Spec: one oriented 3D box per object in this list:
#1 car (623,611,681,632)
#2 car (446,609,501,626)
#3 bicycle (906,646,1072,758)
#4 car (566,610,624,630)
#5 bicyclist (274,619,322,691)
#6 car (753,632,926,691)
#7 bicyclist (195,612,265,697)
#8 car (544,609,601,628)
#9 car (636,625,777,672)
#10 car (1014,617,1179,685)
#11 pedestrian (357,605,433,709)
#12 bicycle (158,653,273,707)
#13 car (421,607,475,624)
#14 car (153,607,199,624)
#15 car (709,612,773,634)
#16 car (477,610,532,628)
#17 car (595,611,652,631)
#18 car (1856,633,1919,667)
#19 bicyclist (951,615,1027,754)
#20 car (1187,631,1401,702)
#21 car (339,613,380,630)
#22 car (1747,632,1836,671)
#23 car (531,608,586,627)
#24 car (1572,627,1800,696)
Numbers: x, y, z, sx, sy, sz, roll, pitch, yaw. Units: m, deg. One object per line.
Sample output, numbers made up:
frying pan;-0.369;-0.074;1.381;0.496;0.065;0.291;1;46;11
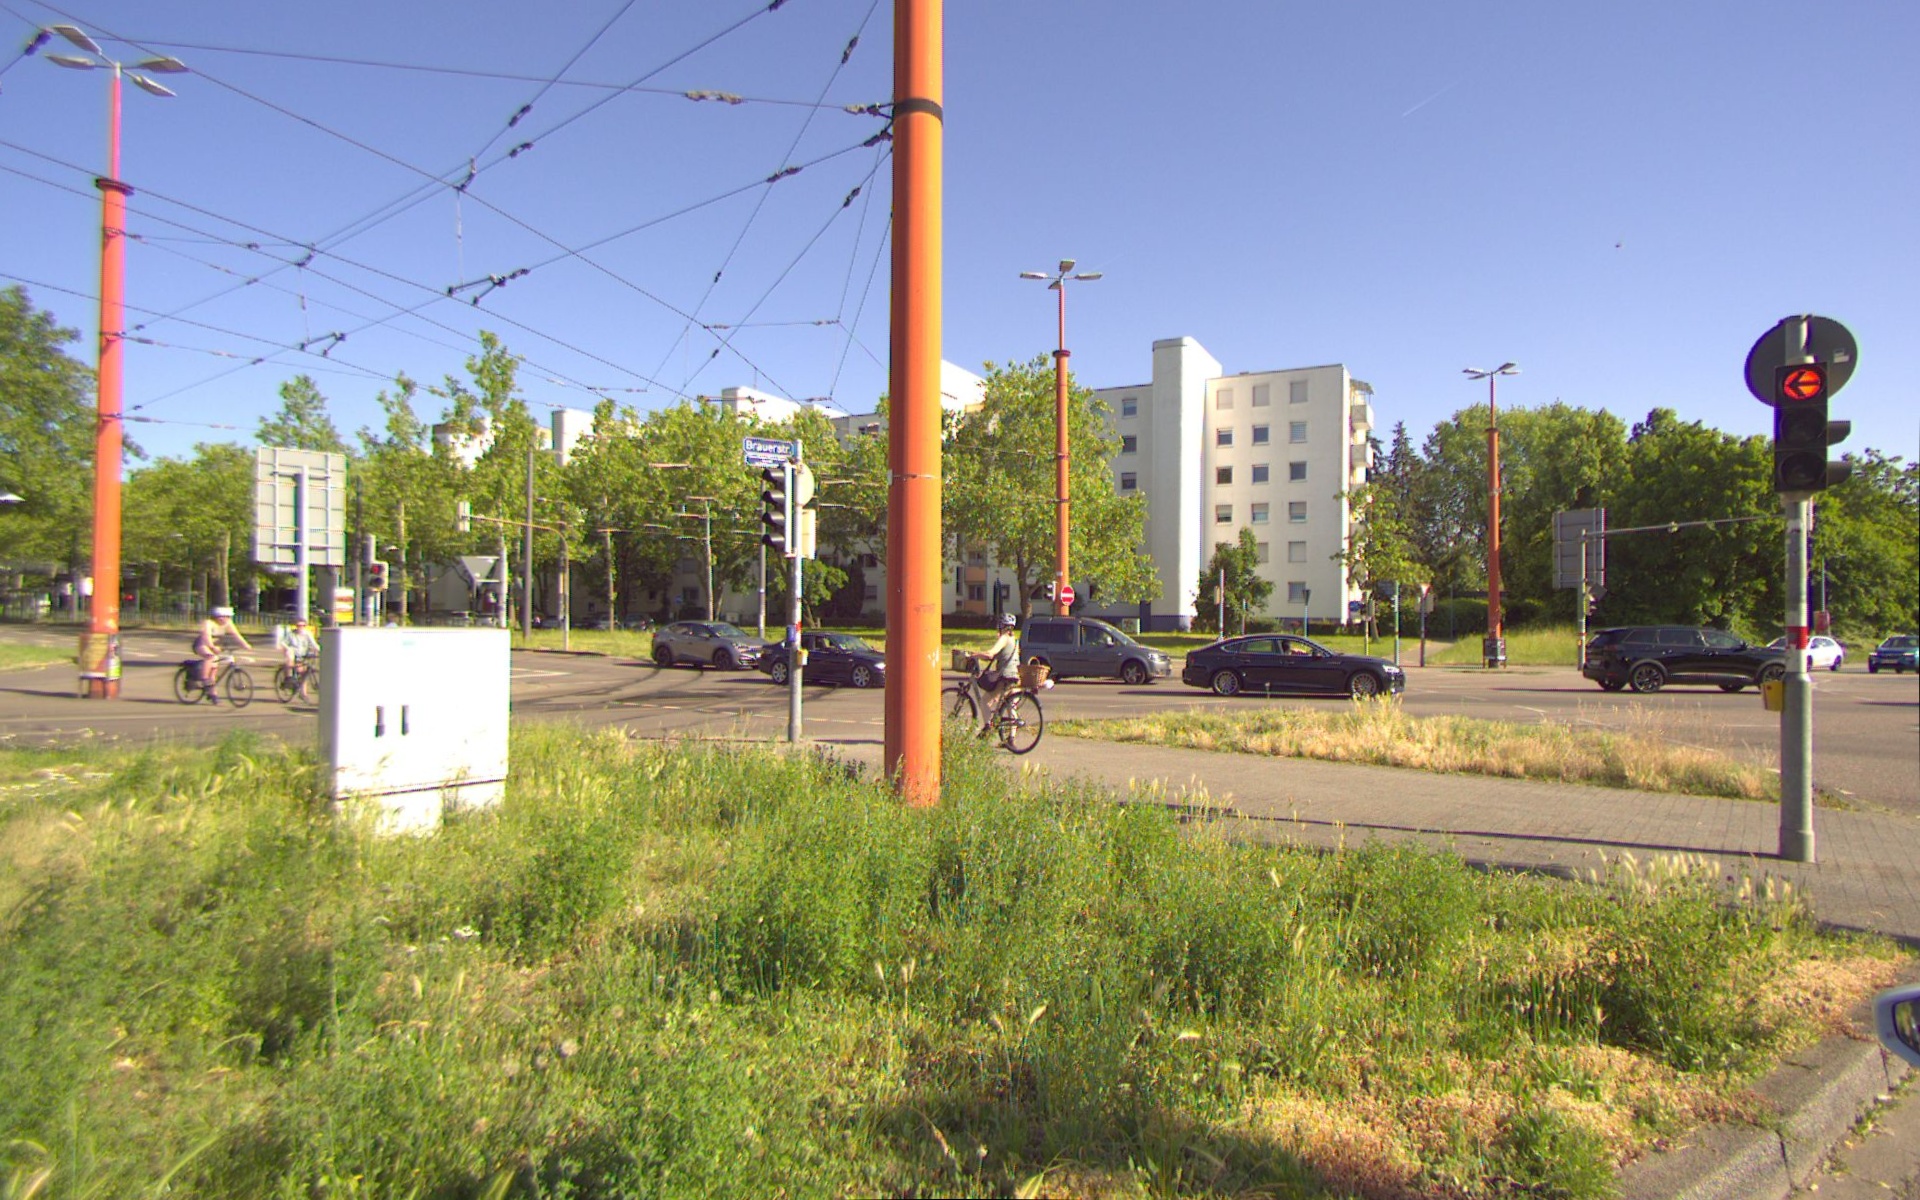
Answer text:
car;-22.244;1.548;72.655;3.934;1.428;1.794;1;-1;-16
car;-41.422;1.486;85.637;3.935;1.428;1.794;1;-1;-17
bicycle;0.333;1.186;12.134;1.915;1.210;0.690;0;-1;33
car;-27.566;1.486;75.931;3.934;1.428;1.794;1;-1;-16
bicyclist;-13.131;1.080;19.928;0.616;1.399;0.443;1;-1;-1
car;-3.207;1.576;26.629;4.282;1.368;1.763;0;-1;27
bicyclist;-13.799;1.017;18.996;0.752;1.565;0.732;1;-1;-1
car;-30.064;1.418;78.085;3.934;1.428;1.794;1;-1;-16
car;-8.467;1.589;33.586;4.351;1.441;1.836;0;-2;23
car;3.799;1.375;27.962;4.223;1.730;1.851;0;-1;22
pedestrian;-10.285;1.016;18.292;0.974;1.817;0.949;0;-1;44
bicycle;-13.991;1.495;18.907;1.612;0.974;0.685;1;-1;-1
car;-44.777;1.388;87.907;3.935;1.428;1.794;1;-1;-17
car;-93.973;1.883;120.472;1.969;2.040;3.984;0;-1;38
car;-14.531;1.551;66.851;1.770;1.428;3.987;0;-1;35
car;-38.019;1.568;83.895;3.935;1.428;1.794;1;-1;-17
car;-24.984;1.557;74.706;3.934;1.428;1.794;1;-1;-16
car;37.165;1.960;39.626;3.571;1.260;1.730;1;-1;-31
bicyclist;0.355;0.990;12.121;0.651;1.605;0.671;0;-1;33
car;7.266;1.395;22.001;4.277;1.368;1.765;0;-1;20
car;-51.922;1.814;86.842;3.937;1.416;1.749;0;-1;38
car;35.218;2.139;42.520;3.891;1.552;1.752;1;-1;-31
car;-31.926;1.369;79.983;3.935;1.428;1.794;1;-1;-17
car;17.830;1.479;24.880;4.175;1.566;1.859;0;-1;10
